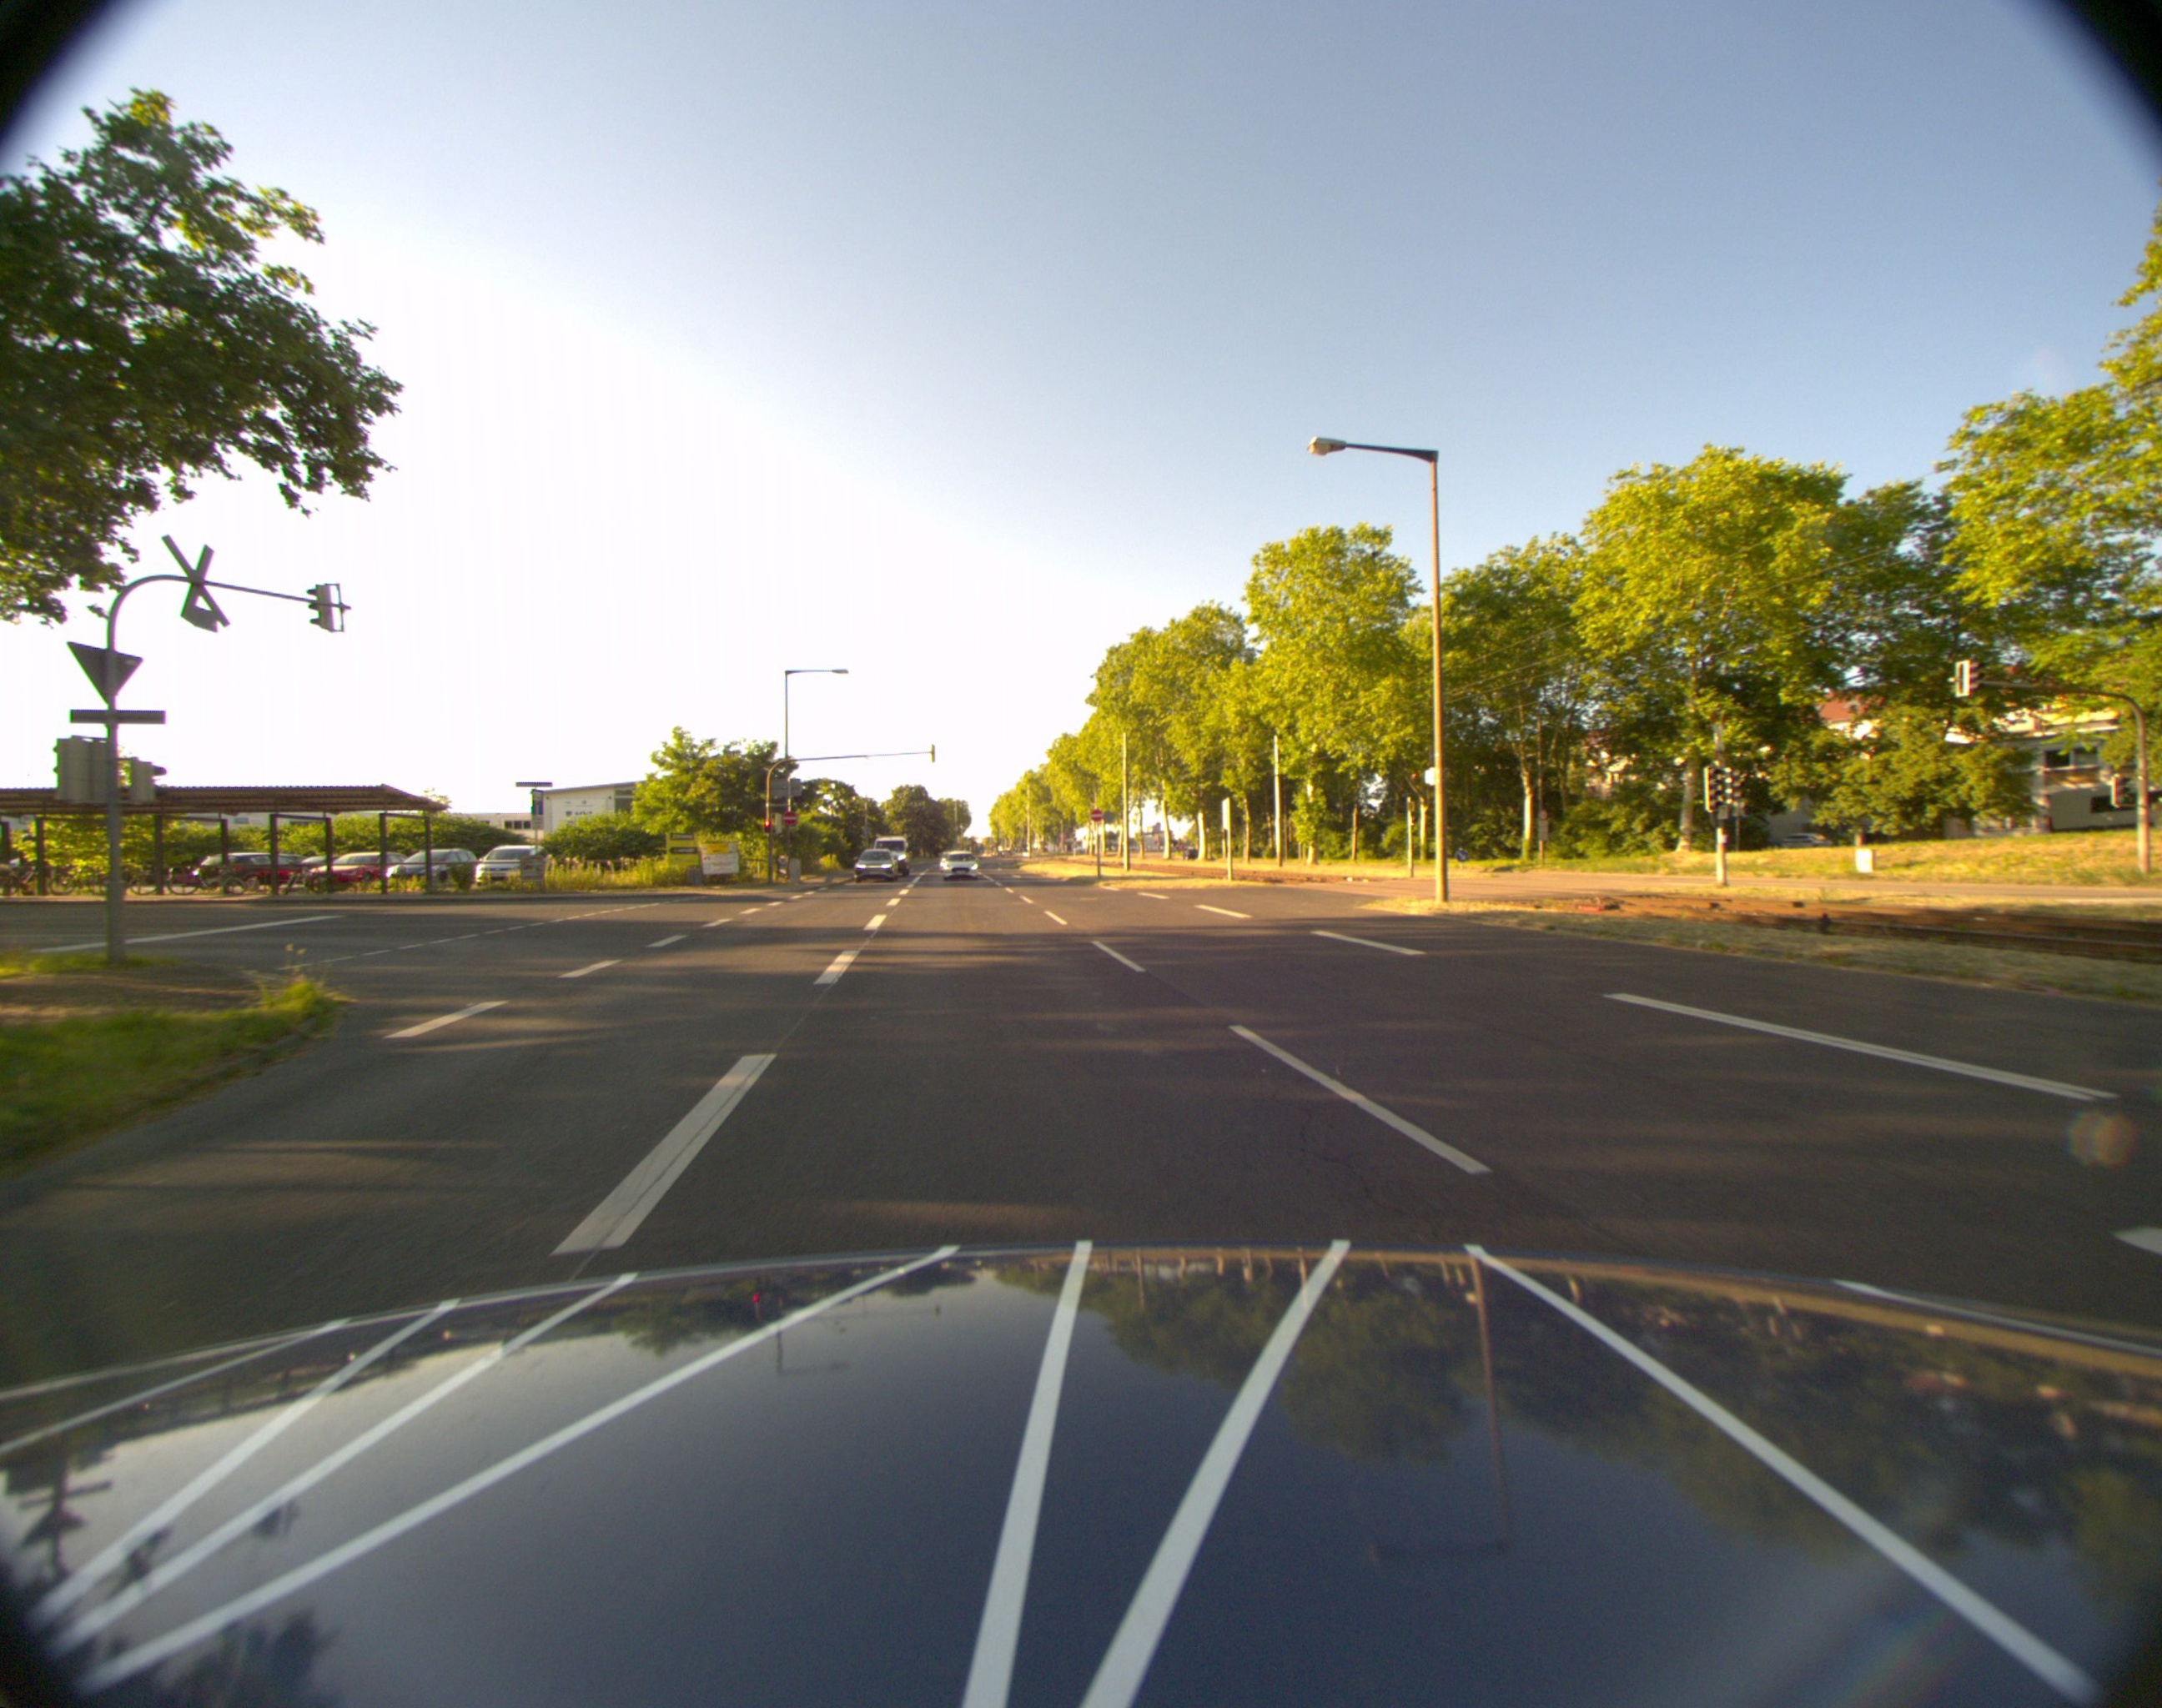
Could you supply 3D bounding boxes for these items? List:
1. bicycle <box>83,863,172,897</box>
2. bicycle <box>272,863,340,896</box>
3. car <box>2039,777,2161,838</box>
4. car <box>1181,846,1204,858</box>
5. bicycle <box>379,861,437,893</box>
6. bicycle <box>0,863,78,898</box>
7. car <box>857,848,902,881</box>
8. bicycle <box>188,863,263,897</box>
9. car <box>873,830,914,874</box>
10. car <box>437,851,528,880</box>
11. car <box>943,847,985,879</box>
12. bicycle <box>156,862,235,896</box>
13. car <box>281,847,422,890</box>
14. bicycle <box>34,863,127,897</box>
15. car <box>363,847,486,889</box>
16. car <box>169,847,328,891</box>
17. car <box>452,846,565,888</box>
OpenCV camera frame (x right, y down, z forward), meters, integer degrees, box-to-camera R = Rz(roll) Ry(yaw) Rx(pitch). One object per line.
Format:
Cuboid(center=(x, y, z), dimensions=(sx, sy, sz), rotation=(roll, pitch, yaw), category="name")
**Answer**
Cuboid(center=(-30.491, 0.813, 24.340), dimensions=(0.544, 1.032, 1.892), rotation=(0, 0, -5), category="bicycle")
Cuboid(center=(-25.695, 0.833, 25.246), dimensions=(0.544, 1.032, 1.892), rotation=(0, 0, -9), category="bicycle")
Cuboid(center=(47.264, -2.049, 33.833), dimensions=(1.806, 2.498, 5.625), rotation=(0, 0, -5), category="car")
Cuboid(center=(13.914, -0.263, 94.994), dimensions=(1.630, 1.433, 3.981), rotation=(0, 0, -10), category="car")
Cuboid(center=(-23.217, 0.789, 26.252), dimensions=(0.544, 1.032, 1.892), rotation=(0, 0, -9), category="bicycle")
Cuboid(center=(-33.274, 0.817, 24.078), dimensions=(0.544, 1.032, 1.892), rotation=(0, 0, -5), category="bicycle")
Cuboid(center=(-10.381, 0.509, 39.353), dimensions=(1.877, 1.608, 4.543), rotation=(0, 0, -10), category="car")
Cuboid(center=(-27.991, 0.826, 24.899), dimensions=(0.544, 1.032, 1.892), rotation=(0, 0, -9), category="bicycle")
Cuboid(center=(-11.712, -0.117, 47.822), dimensions=(2.010, 2.551, 5.871), rotation=(0, 0, -9), category="car")
Cuboid(center=(-34.475, 0.638, 43.893), dimensions=(2.119, 1.627, 4.000), rotation=(0, 0, -1), category="car")
Cuboid(center=(-6.127, 0.459, 40.225), dimensions=(1.876, 1.608, 3.998), rotation=(0, 0, -4), category="car")
Cuboid(center=(-28.735, 0.800, 24.700), dimensions=(0.544, 1.032, 1.892), rotation=(0, 0, -9), category="bicycle")
Cuboid(center=(-29.654, 0.548, 31.110), dimensions=(2.121, 1.639, 4.316), rotation=(0, 0, -11), category="car")
Cuboid(center=(-31.820, 0.805, 24.207), dimensions=(0.544, 1.032, 1.892), rotation=(0, 0, -5), category="bicycle")
Cuboid(center=(-27.155, 0.561, 31.626), dimensions=(2.121, 1.639, 3.996), rotation=(0, 0, -11), category="car")
Cuboid(center=(-33.198, 0.559, 30.531), dimensions=(2.121, 1.639, 4.316), rotation=(0, 0, -11), category="car")
Cuboid(center=(-23.921, 0.517, 31.962), dimensions=(2.121, 1.639, 4.223), rotation=(0, 0, -11), category="car")
